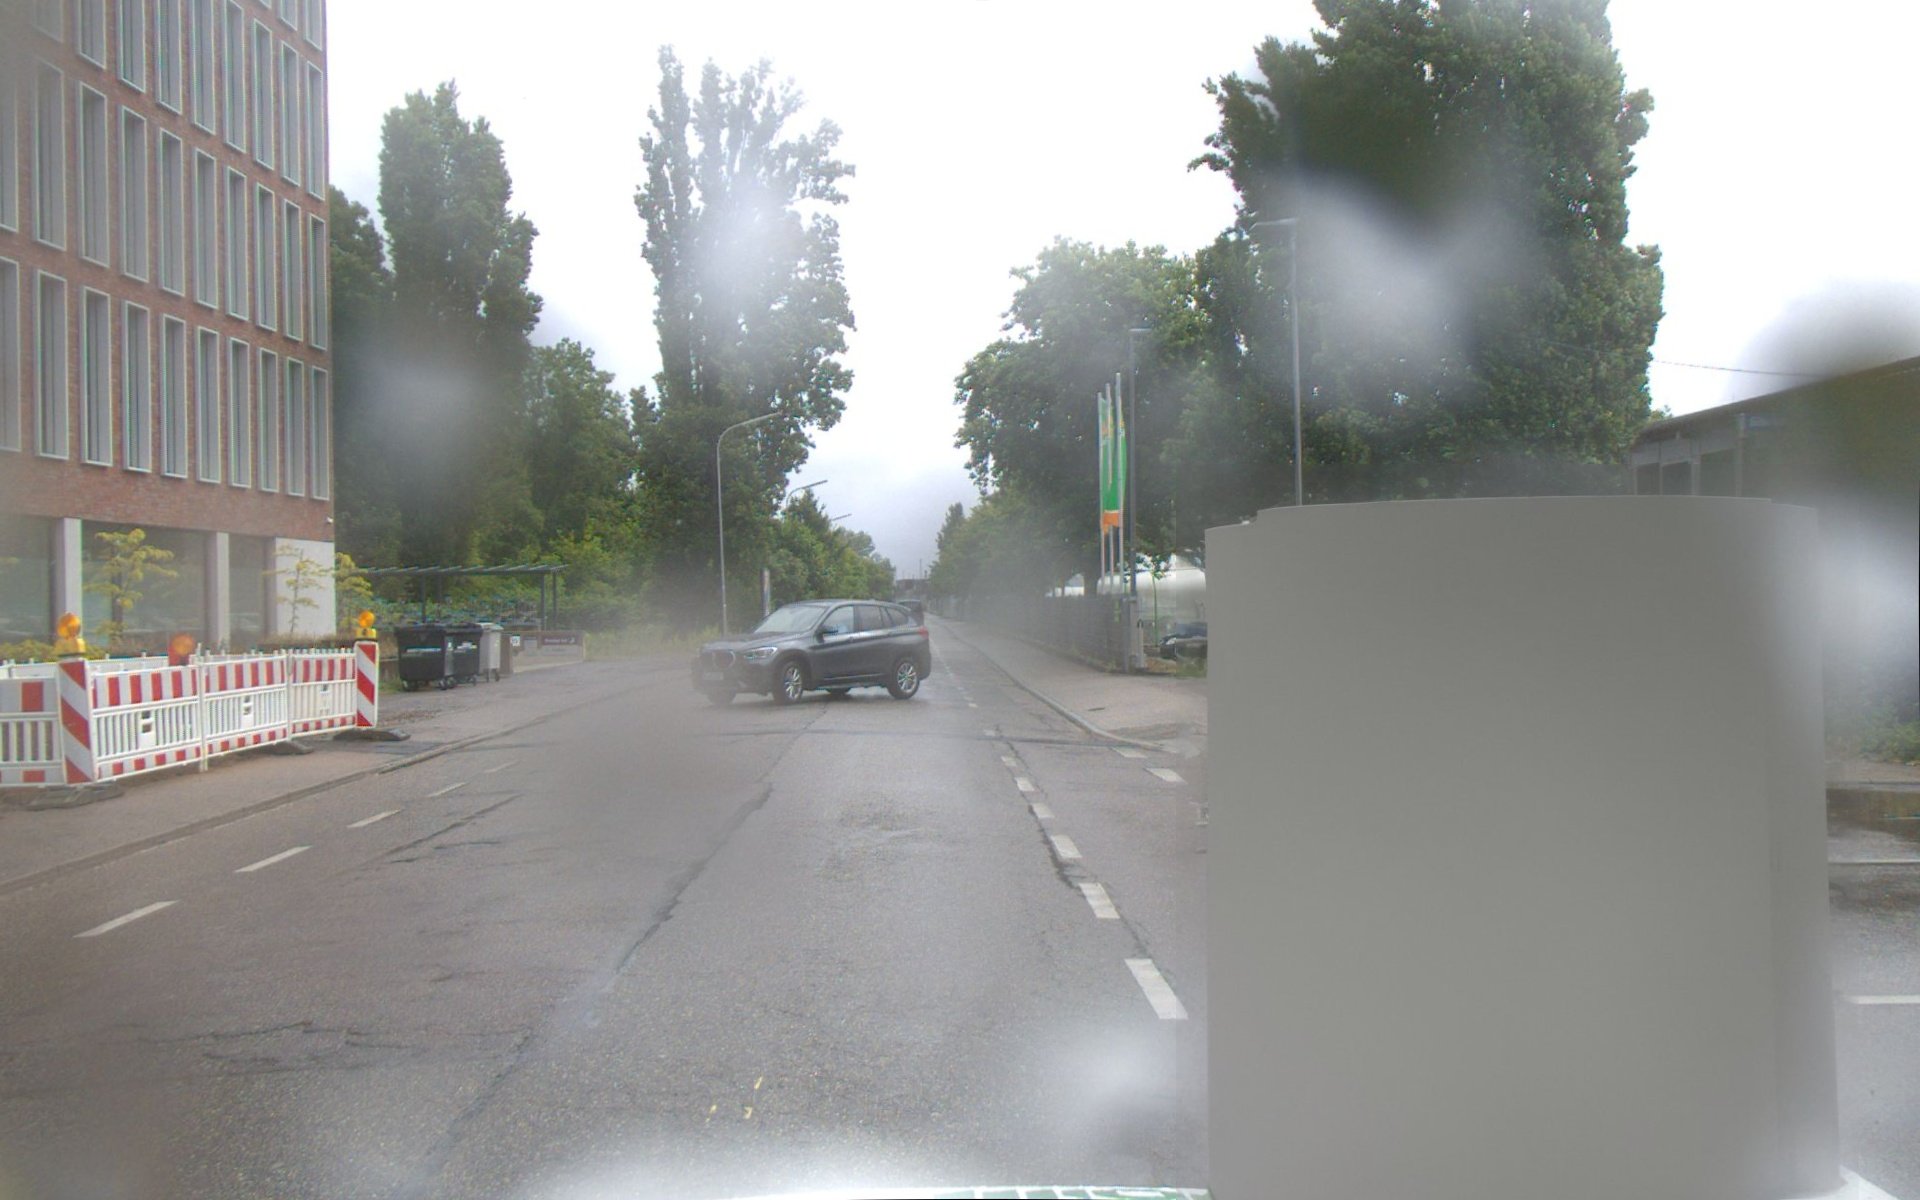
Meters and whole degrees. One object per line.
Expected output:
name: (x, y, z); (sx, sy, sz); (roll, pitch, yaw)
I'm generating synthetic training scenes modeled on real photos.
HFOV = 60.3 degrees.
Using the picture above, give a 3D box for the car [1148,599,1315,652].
car: (6.728, 0.644, 41.174); (3.860, 1.278, 1.618); (0, -1, -3)

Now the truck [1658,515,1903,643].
truck: (19.351, -0.390, 39.565); (2.253, 2.706, 7.417); (-2, -1, 1)

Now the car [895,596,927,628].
car: (-3.150, 0.805, 105.920); (1.954, 1.944, 4.198); (-1, -2, -3)

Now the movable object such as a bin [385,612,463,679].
movable object such as a bin: (-10.901, 0.921, 33.706); (1.271, 1.331, 1.446); (0, -1, -8)

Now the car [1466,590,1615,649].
car: (19.497, 0.638, 55.713); (4.273, 1.865, 2.063); (-1, -1, -1)

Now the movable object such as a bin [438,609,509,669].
movable object such as a bin: (-11.171, 0.885, 38.031); (1.270, 1.355, 1.357); (0, -1, -3)

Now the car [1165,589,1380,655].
car: (7.216, 0.509, 38.513); (4.609, 1.488, 1.889); (0, -1, -3)

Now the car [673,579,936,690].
car: (-2.423, 0.515, 26.614); (1.733, 1.596, 4.125); (-2, 0, 42)

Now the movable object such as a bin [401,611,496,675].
movable object such as a bin: (-10.990, 0.915, 35.576); (1.346, 1.331, 1.449); (-1, -1, 20)
